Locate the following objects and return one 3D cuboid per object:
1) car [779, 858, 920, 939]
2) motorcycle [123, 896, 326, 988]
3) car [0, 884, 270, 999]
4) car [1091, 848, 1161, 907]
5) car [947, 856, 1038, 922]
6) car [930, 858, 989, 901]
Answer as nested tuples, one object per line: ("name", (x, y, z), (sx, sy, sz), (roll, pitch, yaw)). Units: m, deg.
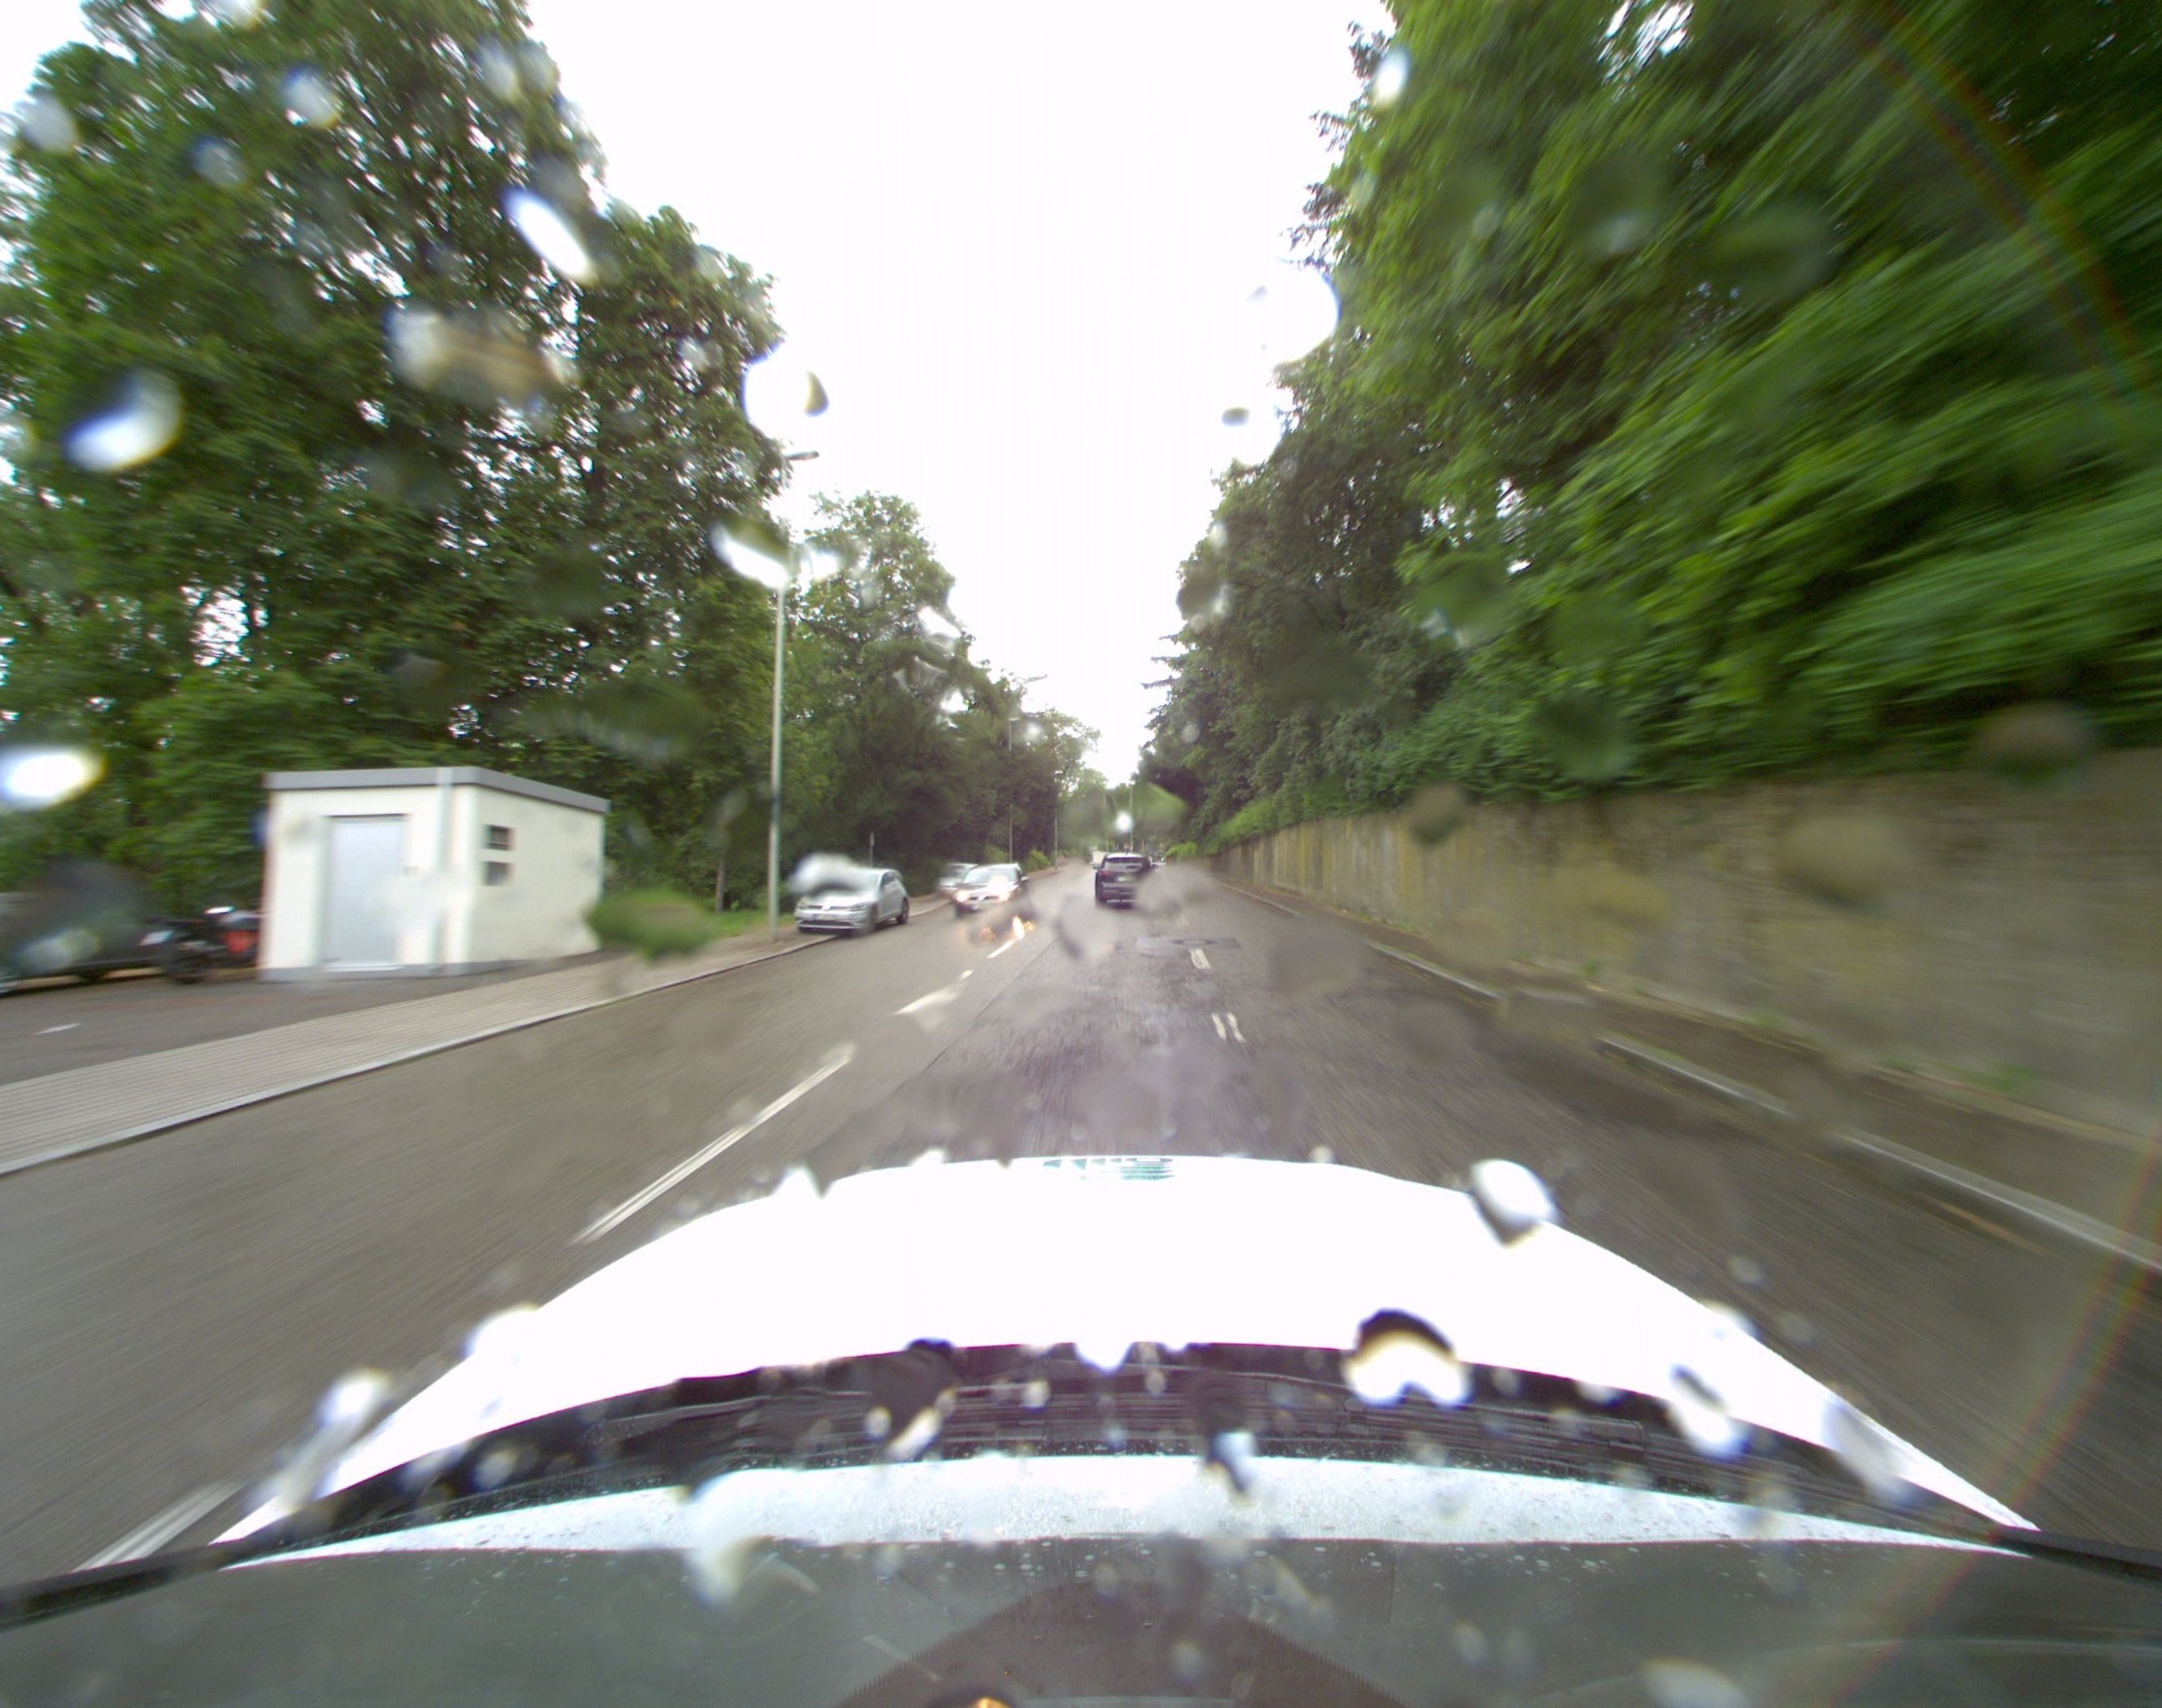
("car", (-5.418, 0.974, 19.706), (1.878, 1.611, 4.243), (-4, 0, 3))
("motorcycle", (-13.379, 1.324, 12.851), (0.597, 1.188, 2.282), (-2, 0, 6))
("car", (-16.071, 1.322, 12.922), (1.939, 1.458, 4.396), (-2, 0, 0))
("car", (1.358, 0.651, 24.832), (1.920, 1.613, 4.003), (-1, 0, 3))
("car", (-2.231, 0.841, 21.563), (1.754, 1.491, 4.002), (-3, 0, 2))
("car", (-4.603, 0.934, 31.351), (1.620, 1.499, 3.928), (1, 0, 0))
